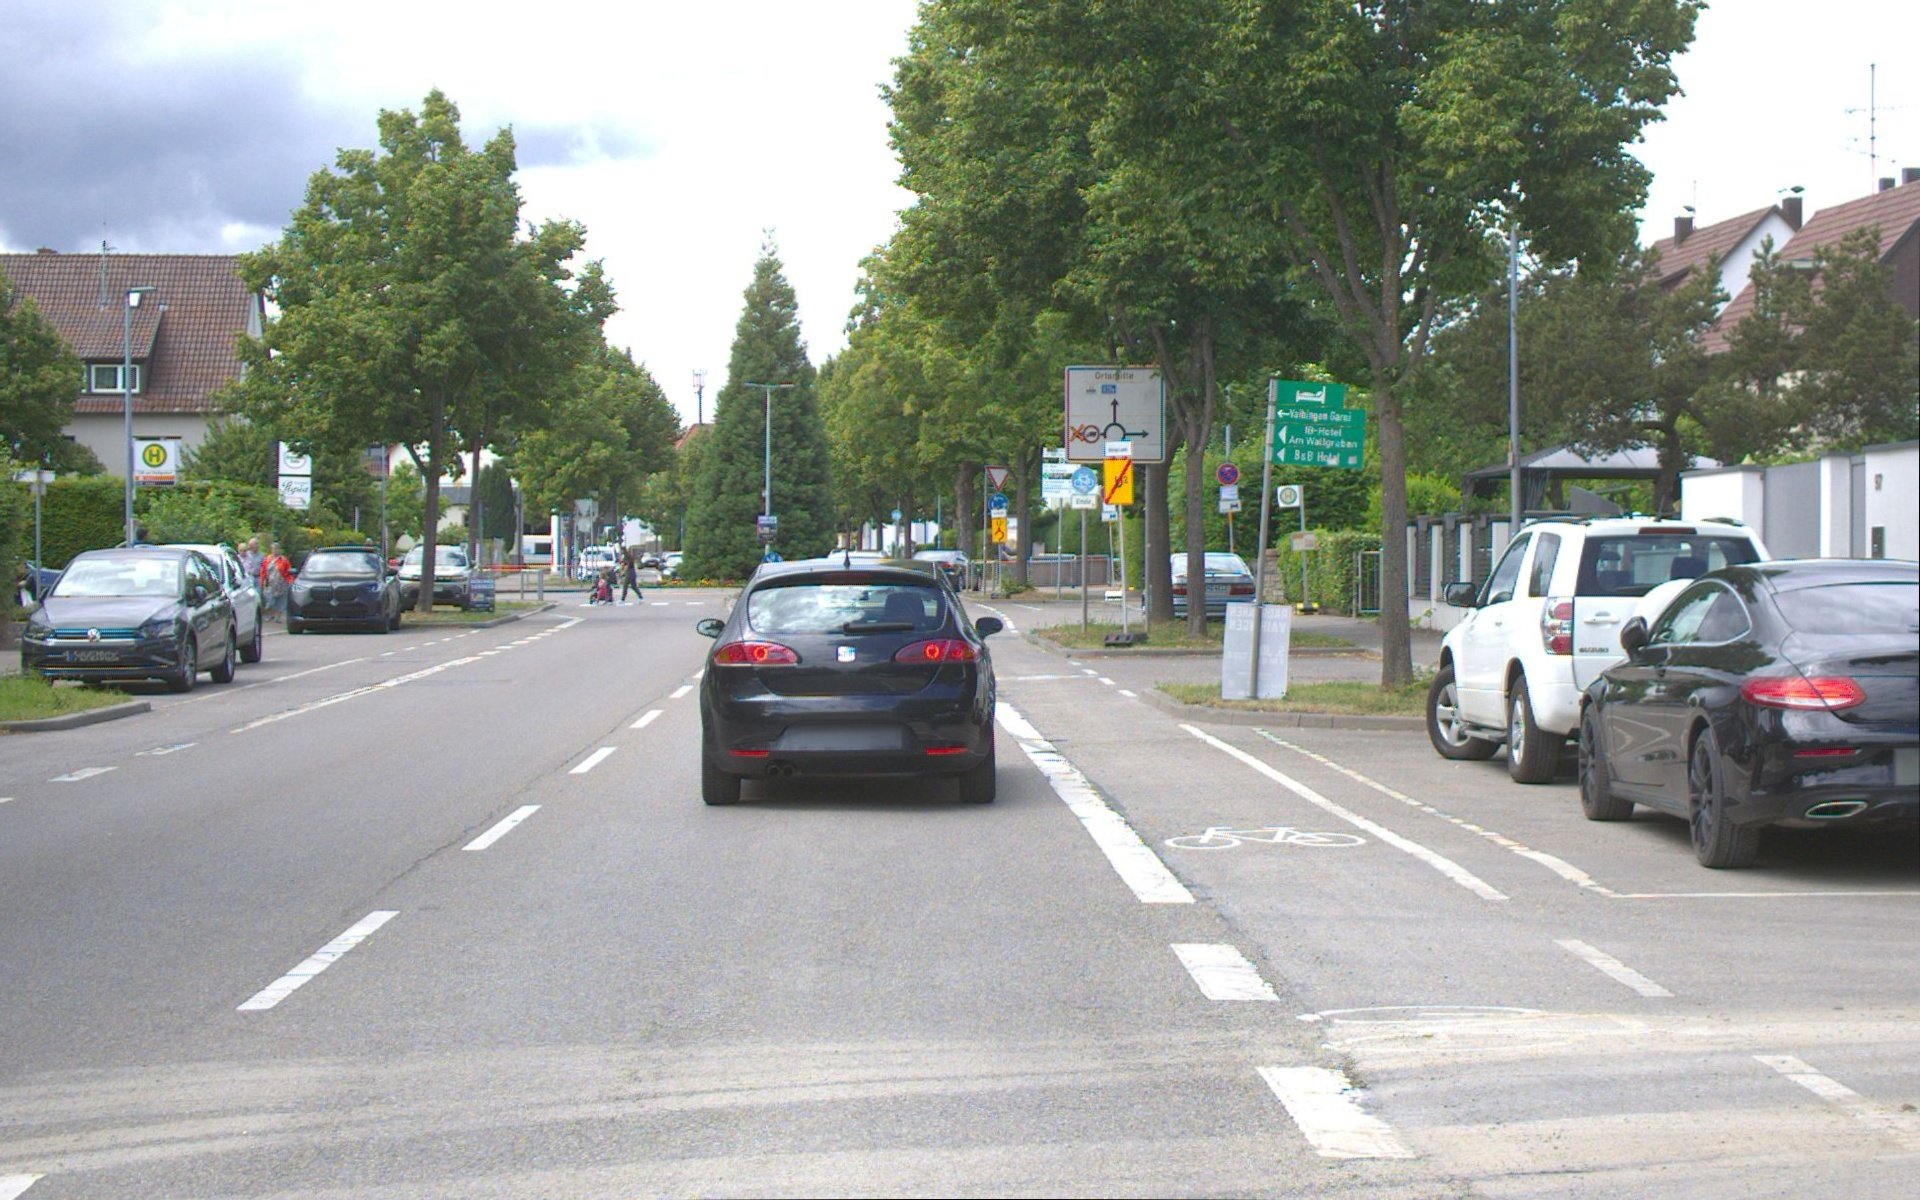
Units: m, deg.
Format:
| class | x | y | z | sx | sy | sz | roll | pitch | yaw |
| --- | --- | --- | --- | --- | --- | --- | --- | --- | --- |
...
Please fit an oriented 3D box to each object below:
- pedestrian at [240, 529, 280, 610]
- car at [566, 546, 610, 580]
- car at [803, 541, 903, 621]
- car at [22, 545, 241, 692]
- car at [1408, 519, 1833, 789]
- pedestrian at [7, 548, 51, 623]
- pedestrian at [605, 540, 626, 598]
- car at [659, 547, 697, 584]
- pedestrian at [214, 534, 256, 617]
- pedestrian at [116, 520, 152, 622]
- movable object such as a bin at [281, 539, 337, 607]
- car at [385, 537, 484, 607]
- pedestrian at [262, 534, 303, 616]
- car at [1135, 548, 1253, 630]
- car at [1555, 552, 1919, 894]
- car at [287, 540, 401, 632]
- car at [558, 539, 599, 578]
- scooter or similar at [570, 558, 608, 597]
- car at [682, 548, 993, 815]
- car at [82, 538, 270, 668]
| class | x | y | z | sx | sy | sz | roll | pitch | yaw |
| --- | --- | --- | --- | --- | --- | --- | --- | --- | --- |
| pedestrian | -14.431 | -0.632 | 70.888 | 0.786 | 1.658 | 0.592 | 0 | 1 | -9 |
| car | -17.418 | -1.745 | 161.085 | 1.797 | 1.596 | 4.001 | -1 | 1 | -3 |
| car | -2.203 | -0.413 | 71.495 | 1.993 | 1.607 | 4.000 | 0 | 1 | -1 |
| car | -9.225 | 0.159 | 38.564 | 1.677 | 1.546 | 4.273 | 0 | 1 | -4 |
| car | 4.287 | 0.311 | 22.955 | 1.900 | 1.637 | 4.117 | 0 | 0 | -2 |
| pedestrian | -16.465 | -0.258 | 60.786 | 0.587 | 1.308 | 0.706 | 0 | 1 | -1 |
| pedestrian | -9.882 | -0.886 | 98.684 | 0.514 | 1.664 | 0.483 | 0 | 1 | -18 |
| car | -12.682 | -1.575 | 154.681 | 1.568 | 1.628 | 3.622 | 0 | 1 | -2 |
| pedestrian | -14.710 | -0.505 | 69.754 | 0.786 | 1.658 | 0.882 | 0 | 1 | -9 |
| pedestrian | -14.625 | -0.510 | 60.884 | 0.503 | 1.800 | 0.671 | 0 | 1 | -2 |
| movable object such as a bin | -16.310 | -0.682 | 86.161 | 1.205 | 1.645 | 0.998 | 2 | 0 | -5 |
| car | -12.723 | -0.702 | 83.464 | 1.860 | 1.648 | 4.295 | 0 | 1 | -2 |
| pedestrian | -13.781 | -0.504 | 69.980 | 0.786 | 1.658 | 0.754 | 0 | 1 | -9 |
| car | 4.038 | -0.174 | 59.849 | 1.611 | 1.372 | 4.387 | 0 | 0 | -2 |
| car | 4.243 | 0.492 | 16.885 | 1.863 | 1.412 | 4.603 | 0 | 1 | 0 |
| car | -11.999 | -0.302 | 67.195 | 1.724 | 1.719 | 4.566 | 0 | 1 | -4 |
| car | -19.851 | -2.181 | 179.071 | 2.029 | 1.964 | 4.001 | -1 | 1 | -5 |
| scooter or similar | -10.608 | -0.647 | 98.398 | 0.966 | 1.092 | 0.407 | 2 | 0 | -20 |
| car | -0.677 | 0.429 | 21.388 | 1.732 | 1.481 | 4.000 | 1 | 1 | 0 |
| car | -10.384 | 0.003 | 45.816 | 1.820 | 1.628 | 4.587 | -1 | 1 | -5 |
